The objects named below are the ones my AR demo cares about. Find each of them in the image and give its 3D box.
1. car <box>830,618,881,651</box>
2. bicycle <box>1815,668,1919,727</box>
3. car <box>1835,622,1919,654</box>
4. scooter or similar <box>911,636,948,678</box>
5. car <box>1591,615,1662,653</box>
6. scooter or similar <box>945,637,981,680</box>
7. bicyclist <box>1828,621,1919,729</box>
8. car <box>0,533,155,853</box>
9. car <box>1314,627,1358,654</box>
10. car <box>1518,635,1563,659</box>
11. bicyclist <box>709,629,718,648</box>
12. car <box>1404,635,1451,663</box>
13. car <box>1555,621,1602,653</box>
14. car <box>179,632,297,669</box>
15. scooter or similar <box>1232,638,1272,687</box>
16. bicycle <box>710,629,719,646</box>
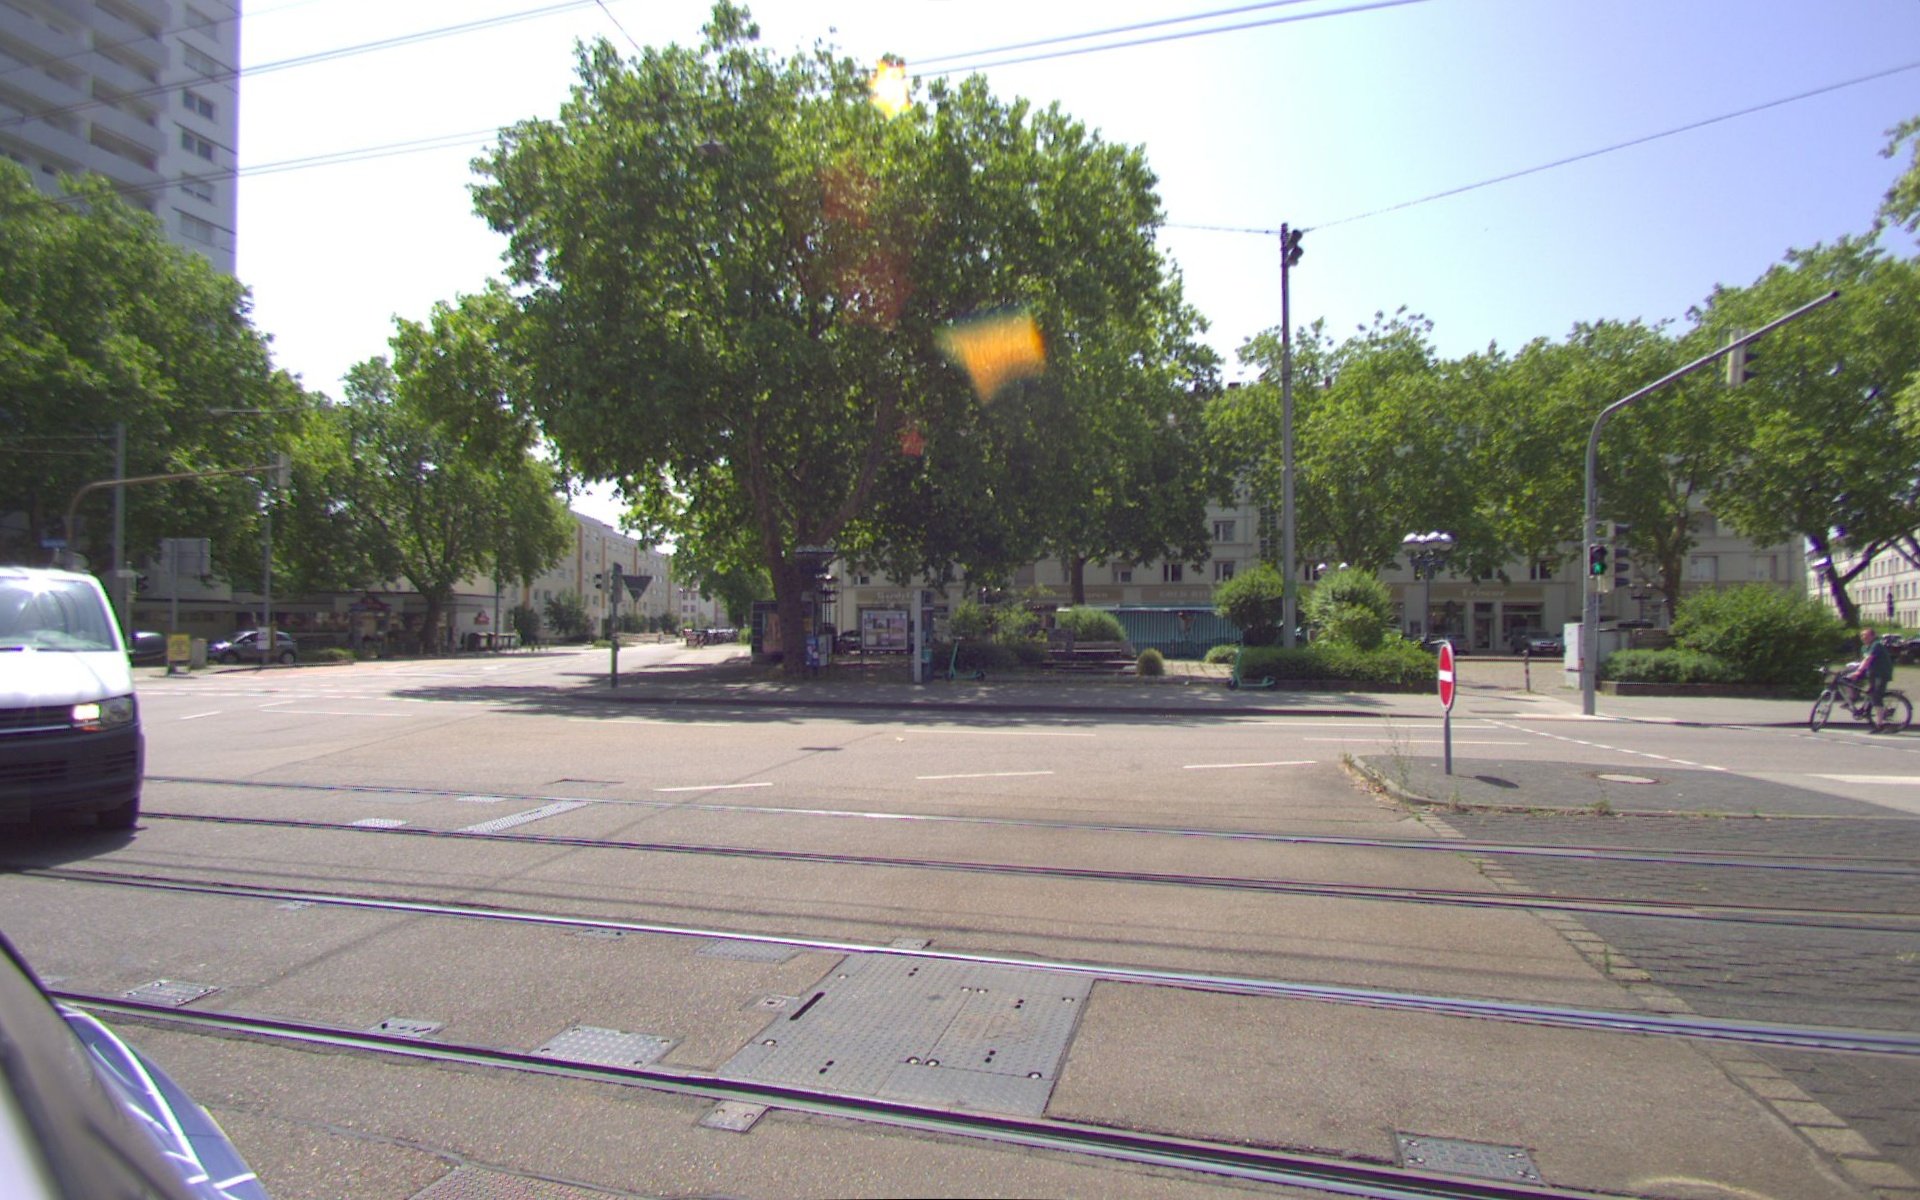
[{"bbox_3d":[-6.763,2.198,65.887,1.983,2.029,3.978,0,-1,17],"label":"car"},{"bbox_3d":[14.833,1.564,16.360,1.466,0.889,0.496,0,-1,11],"label":"bicycle"},{"bbox_3d":[45.712,1.860,50.223,1.715,1.499,3.838,0,-2,10],"label":"car"},{"bbox_3d":[-0.845,1.557,27.890,1.031,1.129,0.255,-1,-2,26],"label":"scooter or similar"},{"bbox_3d":[36.533,1.836,55.603,2.146,1.964,3.979,0,-1,16],"label":"car"},{"bbox_3d":[0.076,1.560,27.306,0.971,1.129,0.255,0,-1,26],"label":"scooter or similar"},{"bbox_3d":[14.763,1.194,16.367,0.859,1.698,0.638,0,-1,10],"label":"bicyclist"},{"bbox_3d":[-7.769,0.617,7.852,1.826,1.968,4.946,1,-2,-45],"label":"car"},{"bbox_3d":[16.724,1.802,45.113,1.343,1.106,2.730,0,-1,10],"label":"car"},{"bbox_3d":[37.827,3.053,66.001,1.607,1.420,3.906,0,-1,16],"label":"car"},{"bbox_3d":[-23.835,3.728,97.879,0.694,1.748,0.788,0,-1,-6],"label":"bicyclist"},{"bbox_3d":[26.850,2.788,58.214,1.605,1.420,3.912,0,-1,12],"label":"car"},{"bbox_3d":[40.122,2.397,65.697,1.559,1.964,3.906,0,-1,16],"label":"car"},{"bbox_3d":[-32.515,2.238,45.707,1.929,1.472,4.036,0,-1,16],"label":"car"},{"bbox_3d":[6.836,1.461,23.692,0.855,1.129,0.255,0,-1,26],"label":"scooter or similar"},{"bbox_3d":[-23.846,3.640,98.311,0.588,1.566,1.845,0,-1,-6],"label":"bicycle"}]
